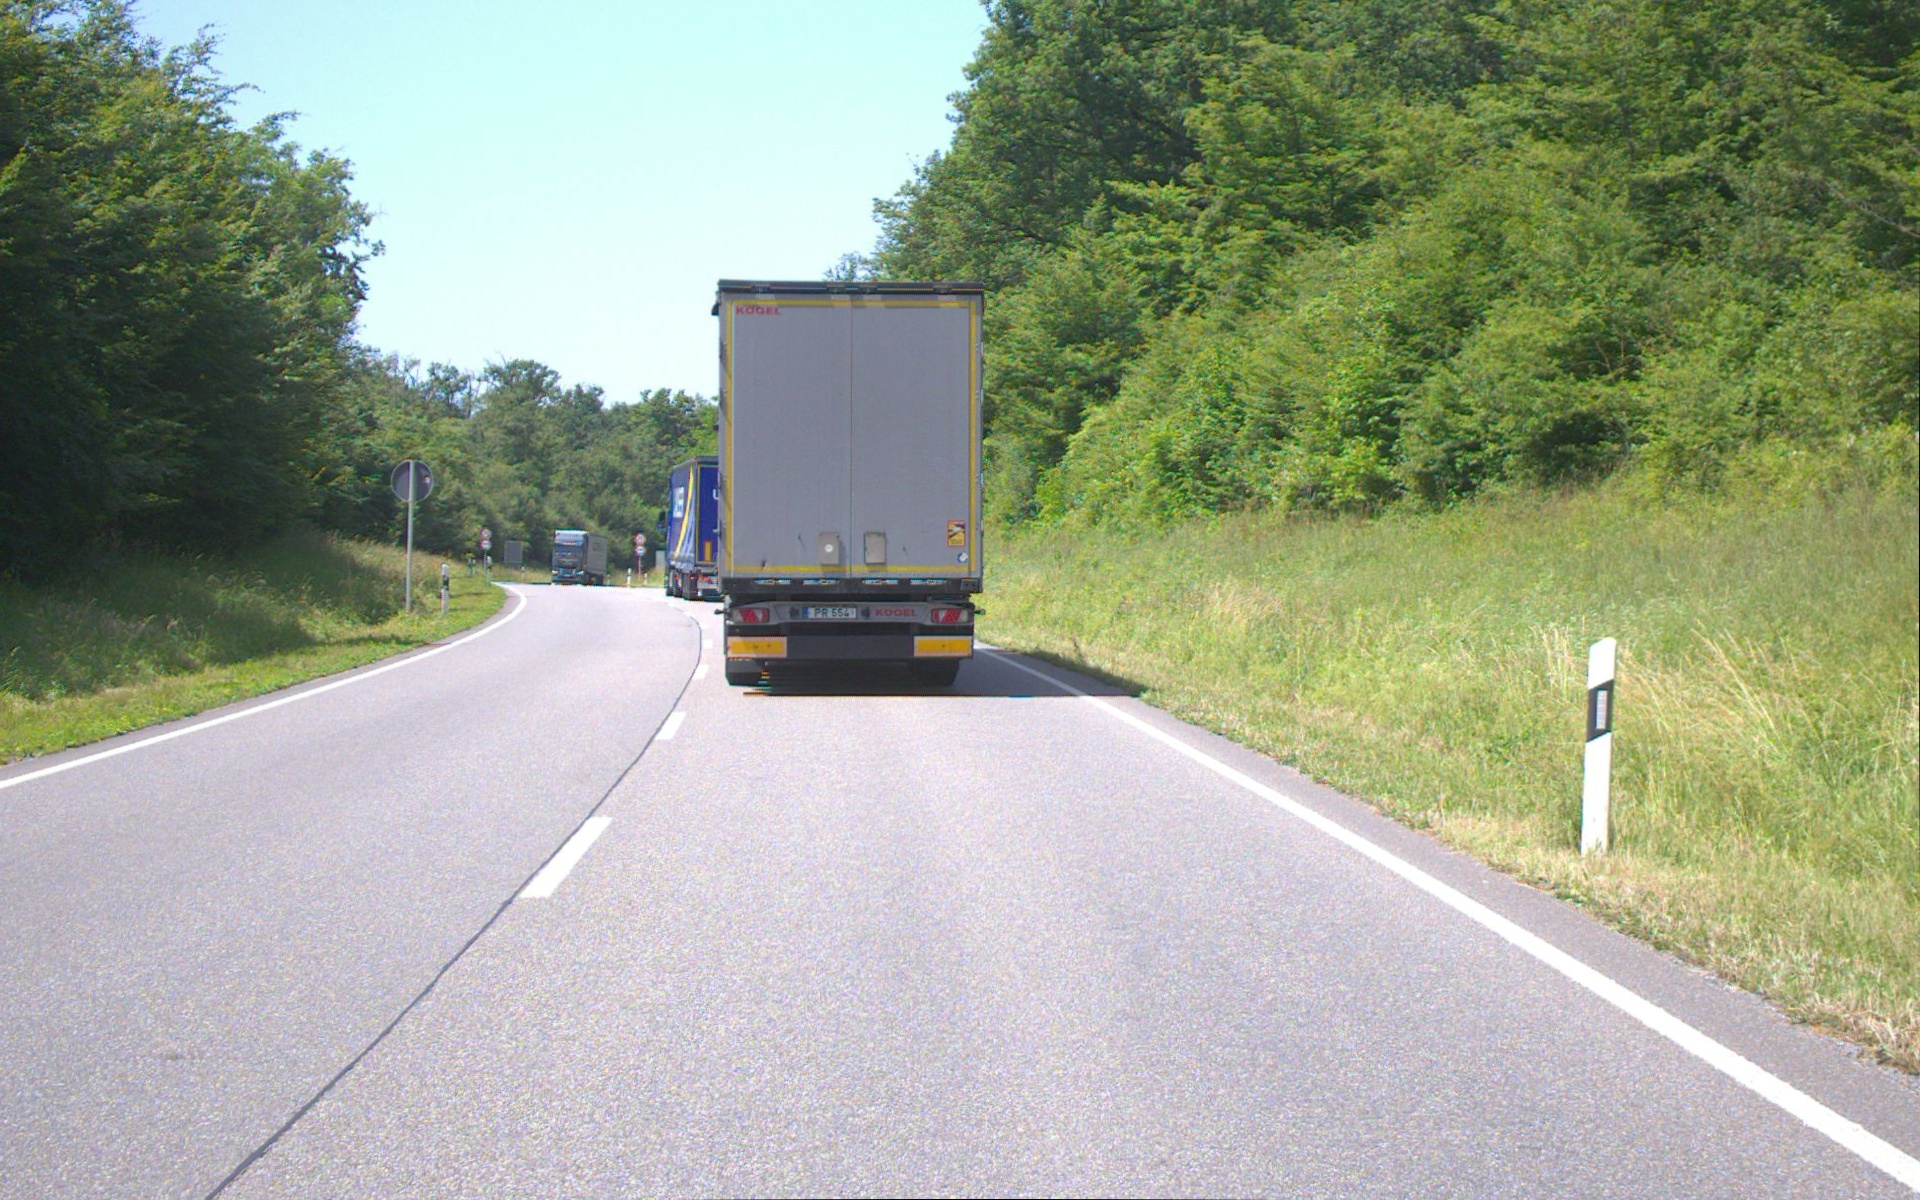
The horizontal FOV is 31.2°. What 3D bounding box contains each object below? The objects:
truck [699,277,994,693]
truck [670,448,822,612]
[{"bbox_3d":[-1.402,-1.201,38.944,2.761,3.933,12.199,1,1,-3],"label":"truck"},{"bbox_3d":[-6.476,-2.069,101.603,3.792,4.358,14.923,2,1,-6],"label":"truck"}]
